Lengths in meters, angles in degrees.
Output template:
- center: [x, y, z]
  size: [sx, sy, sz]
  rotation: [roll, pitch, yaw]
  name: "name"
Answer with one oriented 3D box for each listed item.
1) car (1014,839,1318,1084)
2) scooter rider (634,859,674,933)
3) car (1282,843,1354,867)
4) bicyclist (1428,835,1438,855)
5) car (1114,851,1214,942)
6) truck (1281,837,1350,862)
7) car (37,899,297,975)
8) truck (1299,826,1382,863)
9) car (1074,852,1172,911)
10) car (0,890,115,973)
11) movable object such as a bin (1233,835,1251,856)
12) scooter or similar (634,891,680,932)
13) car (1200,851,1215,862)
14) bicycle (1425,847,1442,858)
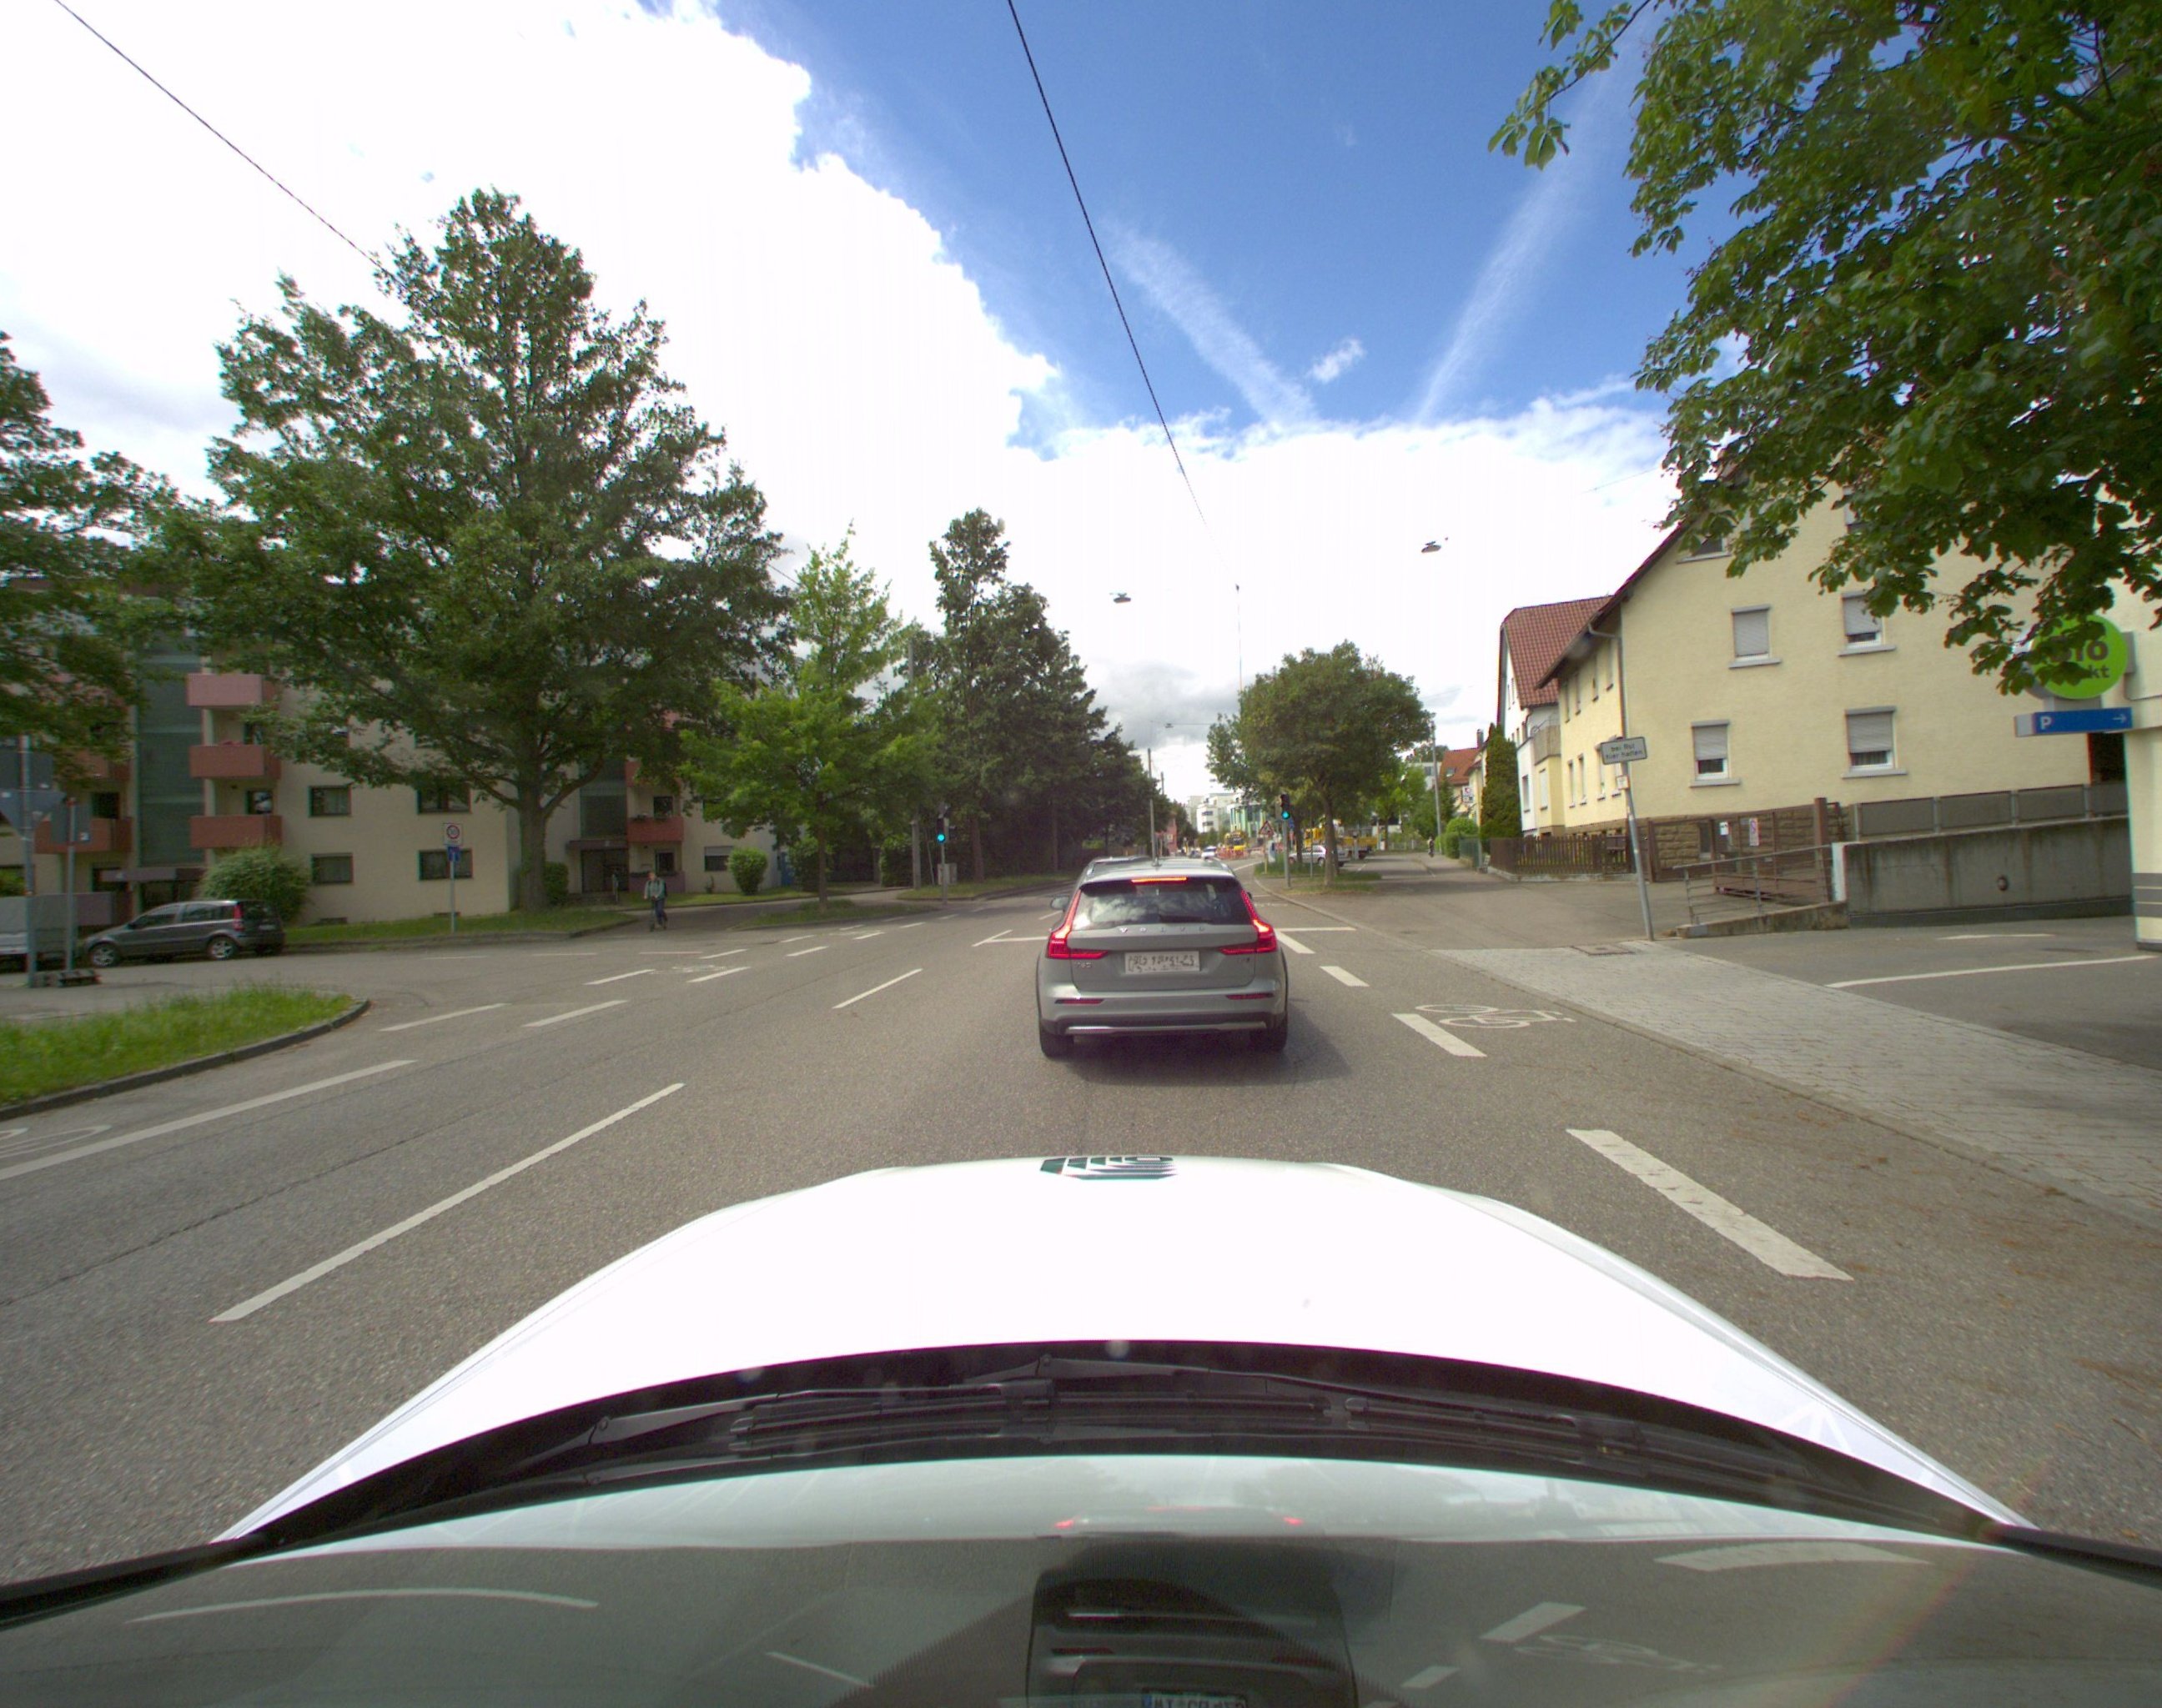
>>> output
- center: [0.682, 0.701, 7.296]
  size: [1.919, 1.540, 4.004]
  rotation: [-2, 0, 4]
  name: "car"
- center: [-11.951, 1.163, 22.812]
  size: [0.674, 2.014, 0.794]
  rotation: [0, -1, 1]
  name: "scooter rider"
- center: [15.645, 0.070, 53.992]
  size: [1.773, 1.451, 4.644]
  rotation: [-2, 0, -30]
  name: "car"
- center: [27.569, -0.676, 63.806]
  size: [0.587, 1.559, 0.567]
  rotation: [0, -1, 1]
  name: "bicyclist"
- center: [1.540, 0.719, 15.450]
  size: [1.653, 1.508, 3.707]
  rotation: [0, -1, 5]
  name: "car"
- center: [19.646, -0.335, 68.528]
  size: [2.007, 2.014, 5.619]
  rotation: [0, -1, -32]
  name: "truck"
- center: [-22.736, 2.015, 20.449]
  size: [3.995, 1.452, 1.687]
  rotation: [-3, 0, -16]
  name: "car"
- center: [22.265, -0.765, 70.206]
  size: [2.780, 3.008, 6.639]
  rotation: [0, -1, -32]
  name: "truck"
- center: [1.294, 0.734, 22.887]
  size: [2.088, 1.510, 4.014]
  rotation: [-1, -1, 13]
  name: "car"
- center: [-27.063, 2.024, 19.952]
  size: [3.990, 1.844, 1.838]
  rotation: [-5, 0, -12]
  name: "car"
- center: [21.498, -1.115, 108.840]
  size: [2.020, 2.642, 5.961]
  rotation: [-3, 0, 13]
  name: "movable object such as a bin"
- center: [-11.894, 1.604, 22.877]
  size: [0.754, 1.083, 0.945]
  rotation: [0, -1, 1]
  name: "scooter or similar"
- center: [16.703, 0.319, 107.532]
  size: [1.816, 1.330, 4.012]
  rotation: [0, -2, 11]
  name: "car"
- center: [27.570, -0.099, 63.774]
  size: [0.592, 0.812, 1.754]
  rotation: [0, 0, 1]
  name: "bicycle"
